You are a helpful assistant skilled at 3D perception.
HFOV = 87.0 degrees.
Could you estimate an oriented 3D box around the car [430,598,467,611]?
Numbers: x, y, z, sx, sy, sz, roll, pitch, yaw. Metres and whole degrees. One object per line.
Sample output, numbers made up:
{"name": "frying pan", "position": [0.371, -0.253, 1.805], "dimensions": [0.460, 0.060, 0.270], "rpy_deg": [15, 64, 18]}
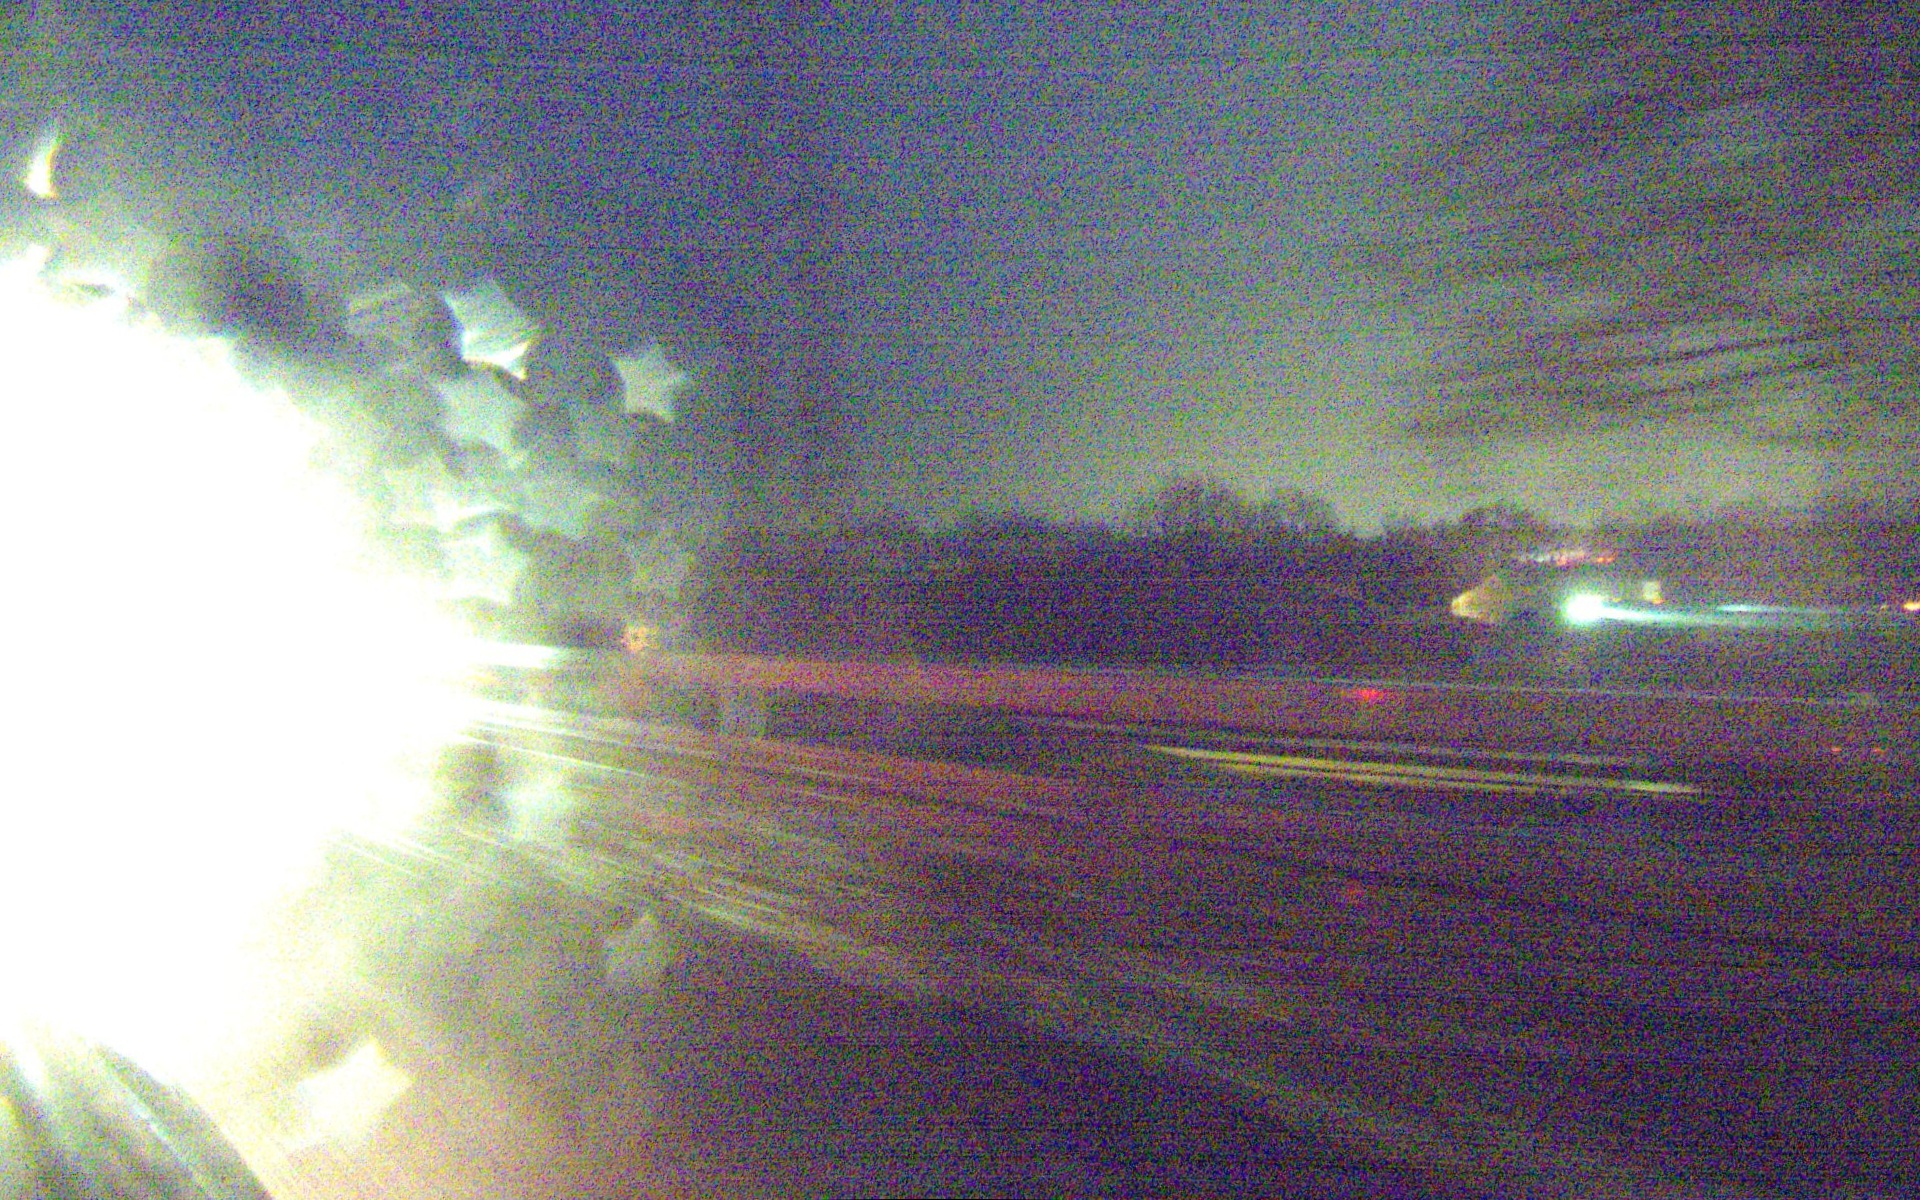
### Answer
{"name": "car", "position": [-58.396, 0.492, 115.641], "dimensions": [1.713, 1.408, 3.916], "rpy_deg": [1, 1, 10]}

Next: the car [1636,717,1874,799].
{"name": "car", "position": [18.878, 3.726, 24.234], "dimensions": [4.062, 1.436, 1.737], "rpy_deg": [1, 1, 15]}

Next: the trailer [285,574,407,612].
{"name": "trailer", "position": [-80.913, -0.970, 133.744], "dimensions": [13.473, 4.368, 2.549], "rpy_deg": [-3, 3, -26]}

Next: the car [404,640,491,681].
{"name": "car", "position": [-23.552, 2.746, 46.476], "dimensions": [4.033, 1.501, 1.744], "rpy_deg": [2, 1, 33]}

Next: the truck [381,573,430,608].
{"name": "truck", "position": [-74.848, -1.316, 136.629], "dimensions": [5.468, 4.368, 2.549], "rpy_deg": [-3, 3, -26]}
